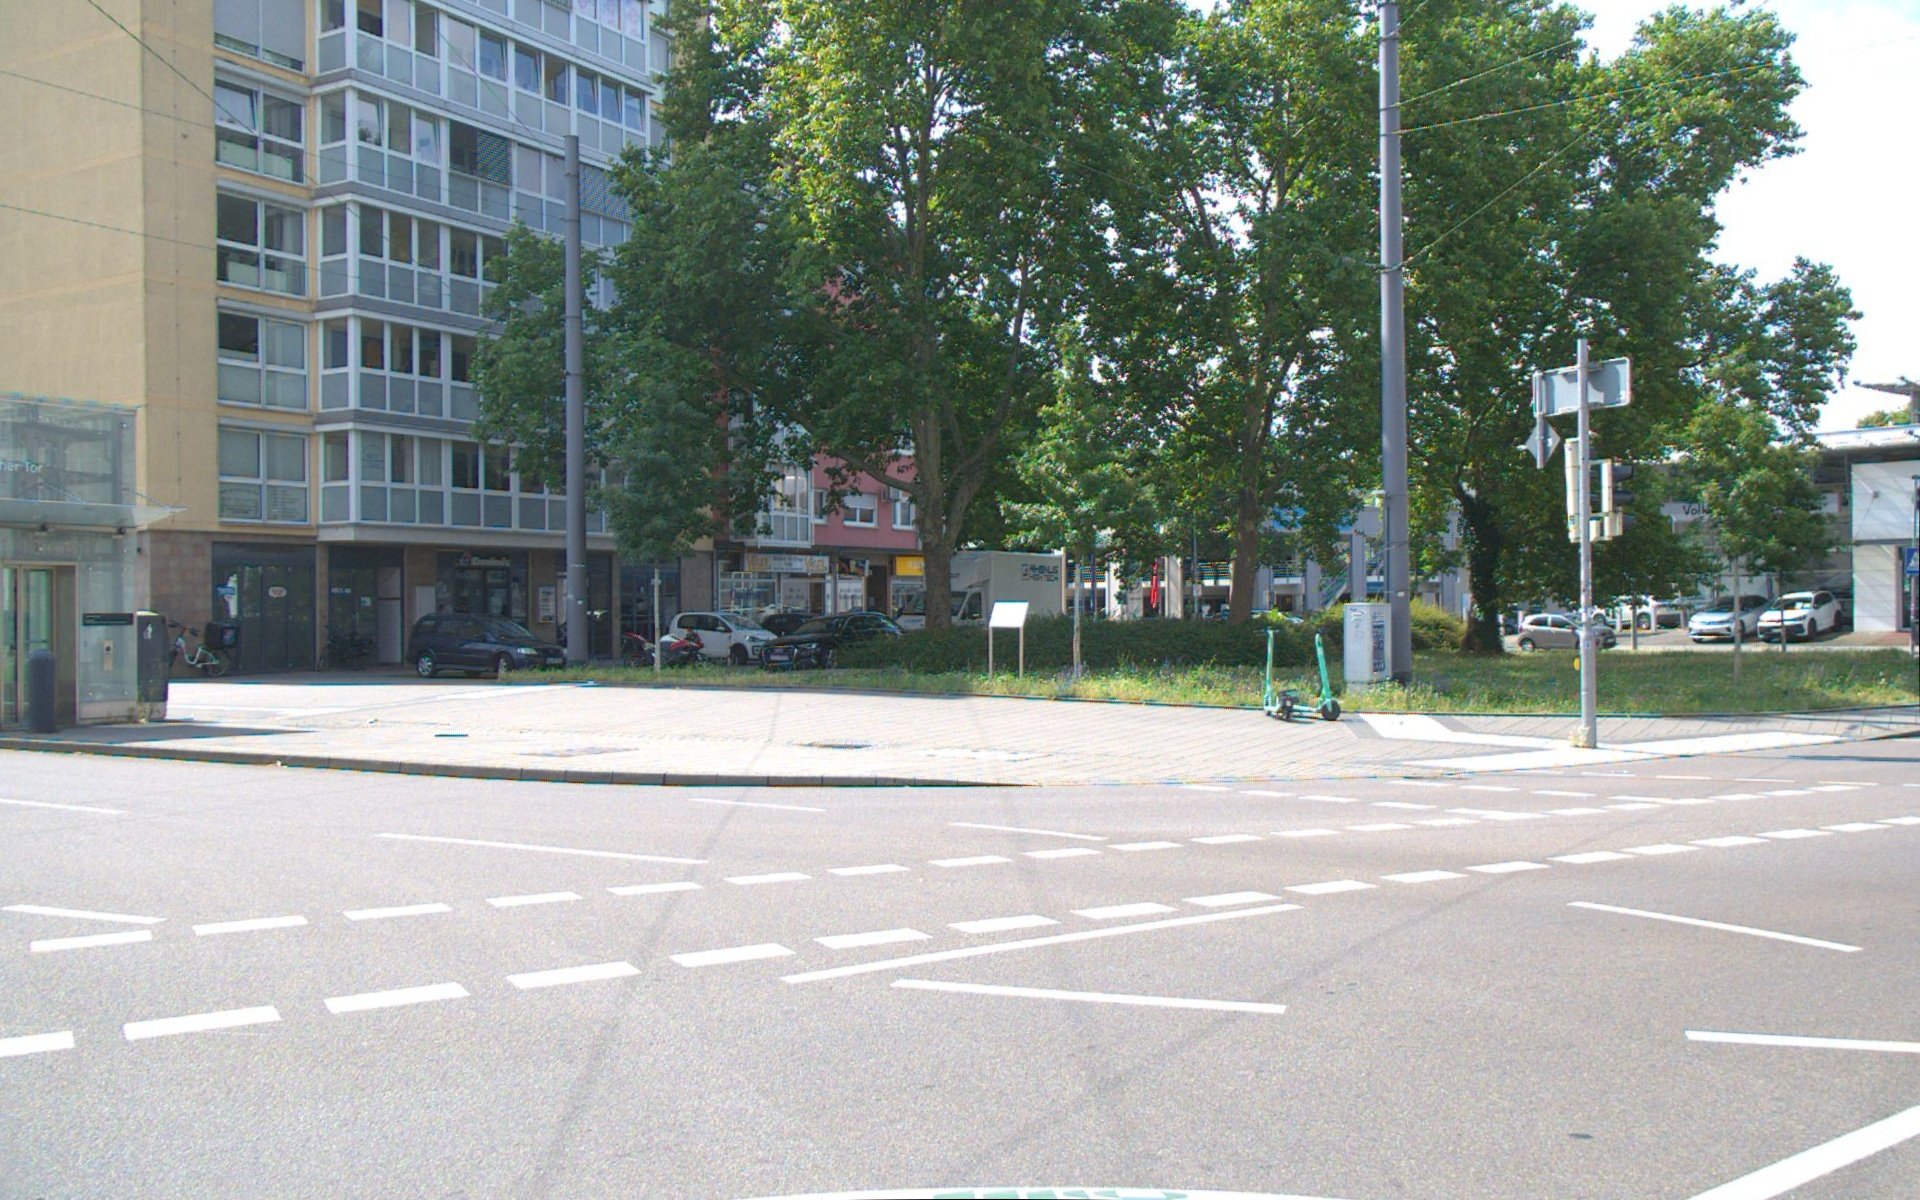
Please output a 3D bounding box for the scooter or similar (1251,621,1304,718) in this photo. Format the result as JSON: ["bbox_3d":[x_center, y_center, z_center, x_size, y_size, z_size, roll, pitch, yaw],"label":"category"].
[{"bbox_3d":[4.170,0.904,21.766,0.373,1.217,1.063,1,0,-6],"label":"scooter or similar"}]

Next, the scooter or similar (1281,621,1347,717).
[{"bbox_3d":[4.683,0.900,21.915,0.374,1.217,1.060,1,0,-16],"label":"scooter or similar"}]

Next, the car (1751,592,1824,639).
[{"bbox_3d":[31.635,0.574,63.179,1.757,1.712,3.982,-1,0,38],"label":"car"}]

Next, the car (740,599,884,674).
[{"bbox_3d":[-3.613,0.879,41.071,1.953,1.736,3.999,-1,0,22],"label":"car"}]

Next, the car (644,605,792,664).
[{"bbox_3d":[-7.050,0.977,48.135,4.006,1.540,1.806,1,1,30],"label":"car"}]

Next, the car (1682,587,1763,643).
[{"bbox_3d":[29.746,0.560,64.496,1.962,2.048,3.982,3,1,38],"label":"car"}]

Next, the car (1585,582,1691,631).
[{"bbox_3d":[30.262,0.265,73.881,1.979,2.049,3.946,1,1,-38],"label":"car"}]

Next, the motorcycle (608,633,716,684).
[{"bbox_3d":[-6.376,1.244,35.462,2.246,1.048,0.972,0,-2,-11],"label":"motorcycle"}]

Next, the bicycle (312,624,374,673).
[{"bbox_3d":[-15.311,1.191,41.067,0.581,1.149,1.343,1,1,33],"label":"bicycle"}]

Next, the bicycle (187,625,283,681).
[{"bbox_3d":[-16.771,1.205,38.318,0.467,1.223,2.192,1,1,29],"label":"bicycle"}]

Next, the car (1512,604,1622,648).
[{"bbox_3d":[23.327,0.981,63.635,1.659,1.513,3.625,-1,2,-42],"label":"car"}]

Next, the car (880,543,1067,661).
[{"bbox_3d":[0.525,0.067,47.212,1.957,3.096,7.233,-1,-1,31],"label":"car"}]

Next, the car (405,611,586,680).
[{"bbox_3d":[-10.945,1.054,38.931,4.005,1.541,1.806,-1,0,30],"label":"car"}]
